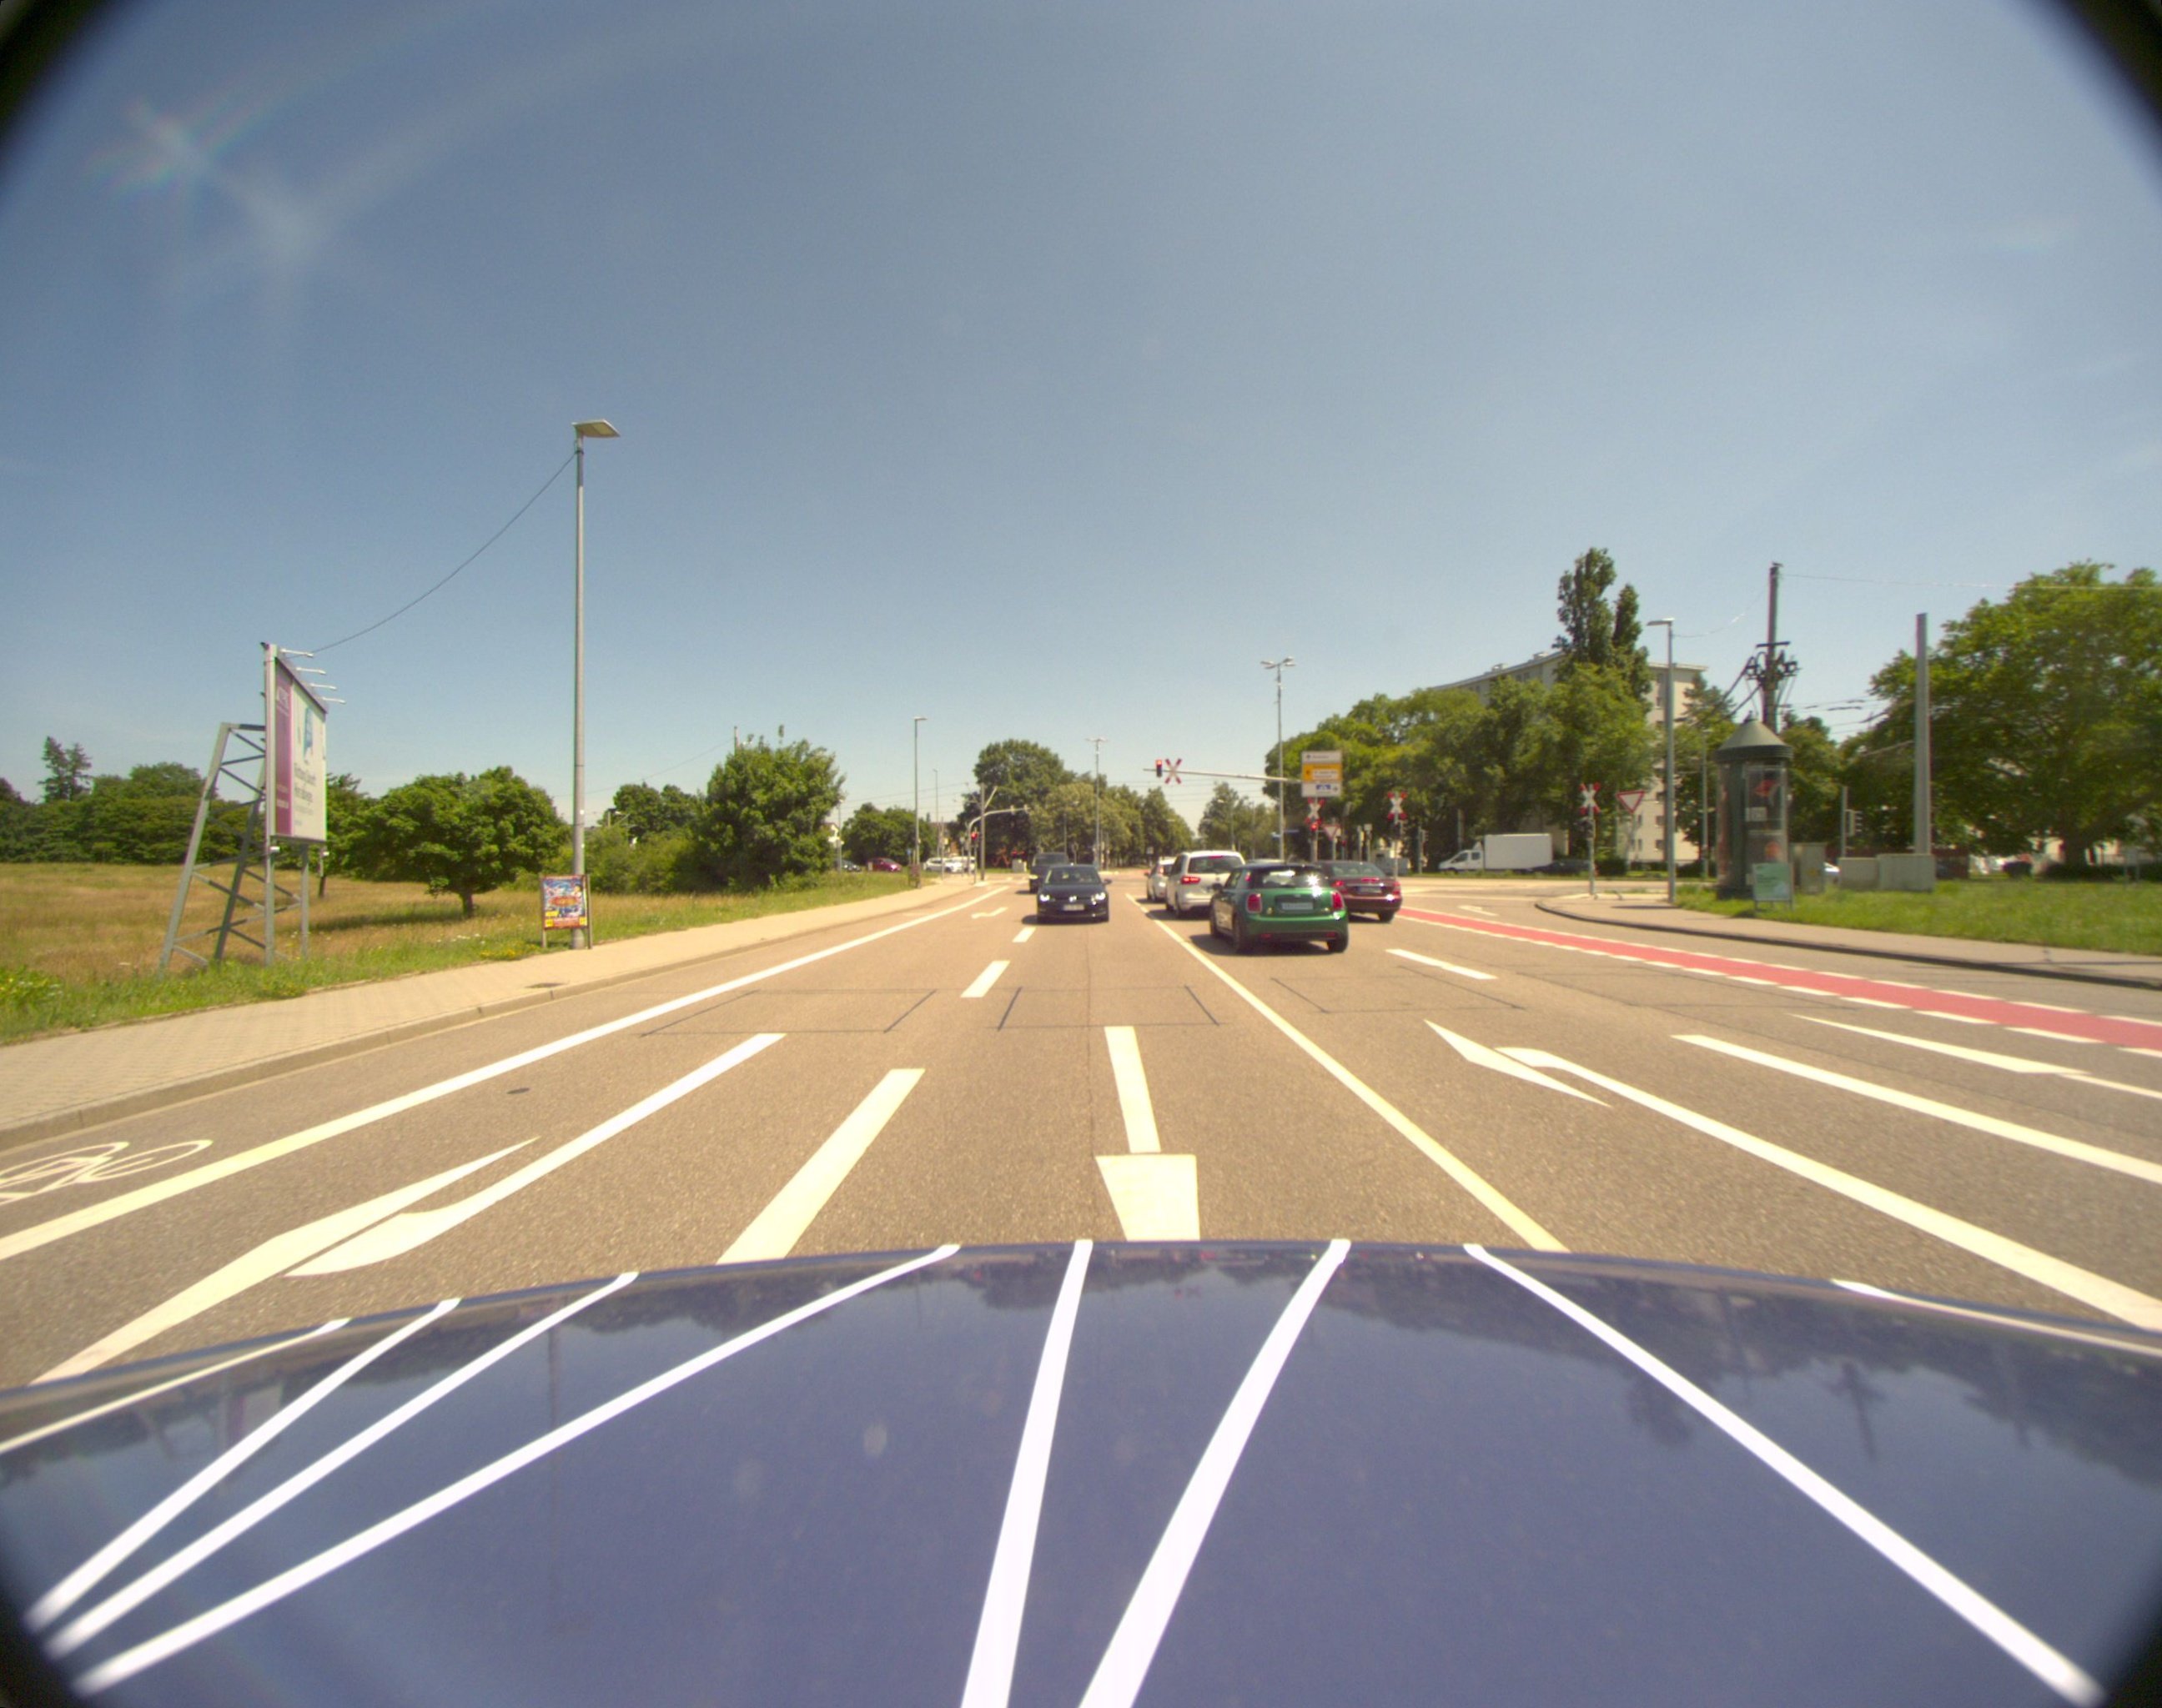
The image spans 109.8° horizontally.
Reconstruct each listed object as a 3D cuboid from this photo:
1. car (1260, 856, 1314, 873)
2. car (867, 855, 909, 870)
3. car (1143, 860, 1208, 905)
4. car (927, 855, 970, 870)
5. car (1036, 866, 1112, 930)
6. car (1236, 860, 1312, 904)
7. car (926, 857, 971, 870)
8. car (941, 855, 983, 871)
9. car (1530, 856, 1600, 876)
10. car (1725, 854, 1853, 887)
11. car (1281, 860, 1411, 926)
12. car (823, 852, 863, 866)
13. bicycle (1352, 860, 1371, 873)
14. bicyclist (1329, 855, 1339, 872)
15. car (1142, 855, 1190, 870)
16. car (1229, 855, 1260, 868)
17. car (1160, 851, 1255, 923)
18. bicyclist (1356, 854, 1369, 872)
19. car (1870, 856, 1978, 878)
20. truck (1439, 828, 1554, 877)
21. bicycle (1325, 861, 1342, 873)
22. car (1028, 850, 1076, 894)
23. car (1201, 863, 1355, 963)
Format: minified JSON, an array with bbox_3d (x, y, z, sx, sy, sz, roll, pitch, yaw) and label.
[{"bbox_3d":[18.076,0.943,66.635,4.203,1.416,1.853,0,-1,32],"label":"car"},{"bbox_3d":[-20.666,0.869,81.387,4.400,1.566,1.879,0,-1,32],"label":"car"},{"bbox_3d":[3.333,0.961,27.487,1.772,1.429,3.961,-2,0,0],"label":"car"},{"bbox_3d":[-14.203,0.962,81.640,4.400,1.566,1.879,0,-1,32],"label":"car"},{"bbox_3d":[-0.167,1.054,19.592,1.708,1.396,4.053,-1,0,0],"label":"car"},{"bbox_3d":[7.054,0.978,28.179,1.795,1.447,4.413,0,0,1],"label":"car"},{"bbox_3d":[-13.499,0.971,77.414,4.400,1.380,1.879,0,-1,32],"label":"car"},{"bbox_3d":[-13.270,0.999,84.754,4.380,1.782,1.901,0,-2,30],"label":"car"},{"bbox_3d":[33.332,0.833,52.435,3.989,1.278,1.751,0,-2,29],"label":"car"},{"bbox_3d":[34.418,0.800,37.067,4.249,1.536,1.749,0,-2,13],"label":"car"},{"bbox_3d":[6.491,0.885,19.122,1.764,1.448,4.285,0,0,0],"label":"car"},{"bbox_3d":[-26.737,0.589,85.253,4.400,1.566,1.879,0,-1,32],"label":"car"},{"bbox_3d":[24.725,1.124,66.959,0.616,1.057,1.803,-1,3,-14],"label":"bicycle"},{"bbox_3d":[22.508,0.837,67.675,0.616,1.460,0.628,-1,3,-14],"label":"bicyclist"},{"bbox_3d":[8.110,0.855,72.829,4.203,1.416,1.853,0,-1,31],"label":"car"},{"bbox_3d":[19.749,0.885,91.850,3.488,1.419,1.586,-1,-2,6],"label":"car"},{"bbox_3d":[3.292,0.815,20.710,1.816,1.713,4.831,-1,0,1],"label":"car"},{"bbox_3d":[24.754,0.770,66.913,0.648,1.536,0.908,-1,3,-14],"label":"bicyclist"},{"bbox_3d":[51.213,0.804,46.278,3.989,1.278,1.891,0,-2,29],"label":"car"},{"bbox_3d":[32.150,-0.057,58.919,7.690,3.511,2.594,0,-2,31],"label":"truck"},{"bbox_3d":[22.496,1.148,67.744,0.616,1.057,1.803,-1,1,-14],"label":"bicycle"},{"bbox_3d":[-1.347,0.821,36.956,1.941,1.919,4.847,-2,0,2],"label":"car"},{"bbox_3d":[3.247,0.904,13.331,1.727,1.454,3.990,-1,0,1],"label":"car"}]
